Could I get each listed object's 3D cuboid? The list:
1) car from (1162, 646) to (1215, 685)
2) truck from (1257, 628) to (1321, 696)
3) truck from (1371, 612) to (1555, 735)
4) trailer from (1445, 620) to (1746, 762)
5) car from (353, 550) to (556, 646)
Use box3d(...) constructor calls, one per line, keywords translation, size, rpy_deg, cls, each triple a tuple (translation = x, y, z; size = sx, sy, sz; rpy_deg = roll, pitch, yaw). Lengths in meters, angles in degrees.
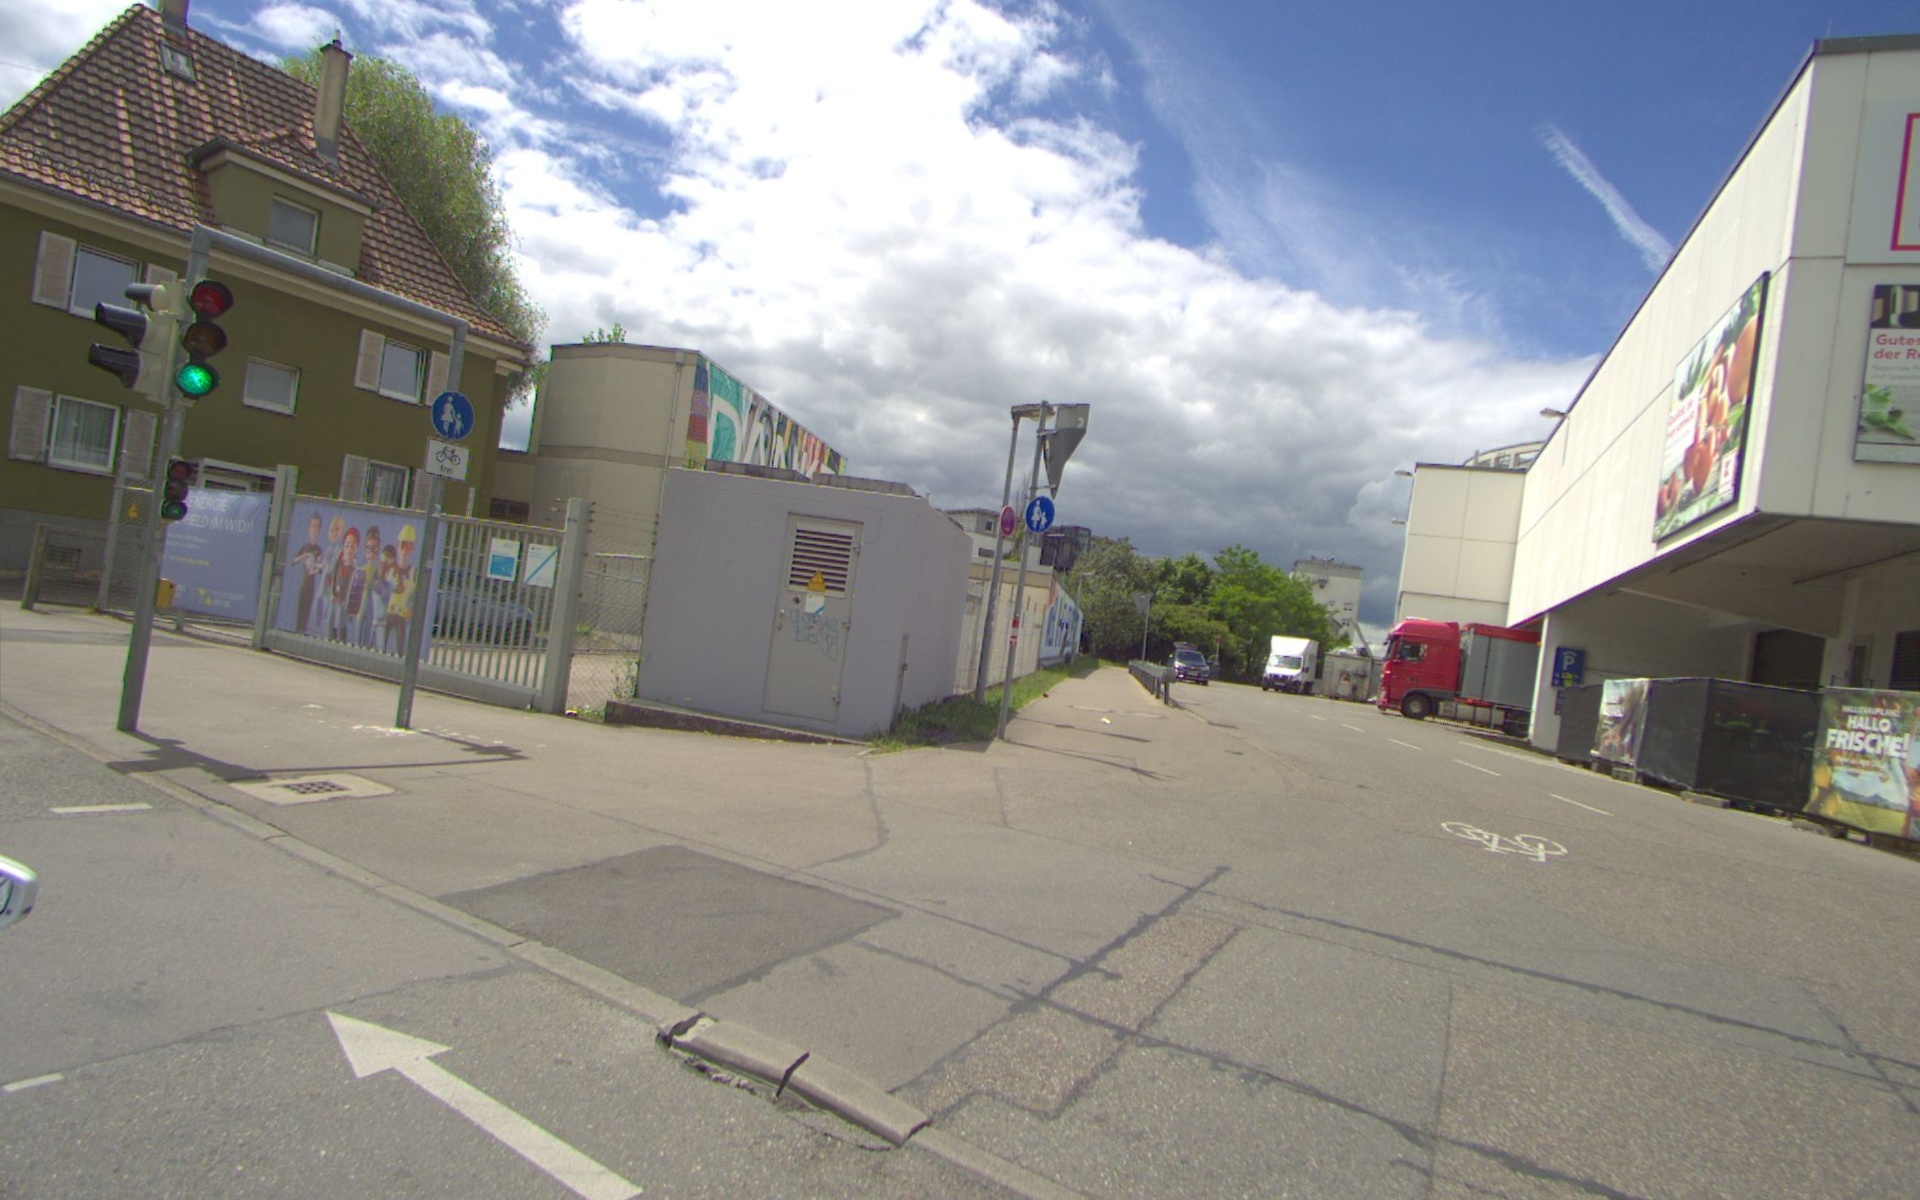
box3d(translation=(11.389, 3.282, 50.368), size=(1.838, 1.622, 3.979), rpy_deg=(8, -3, 4), cls="car")
box3d(translation=(19.015, 3.662, 57.820), size=(2.369, 3.263, 7.432), rpy_deg=(7, -3, 25), cls="truck")
box3d(translation=(19.512, 2.855, 39.435), size=(5.795, 3.905, 2.606), rpy_deg=(7, -2, 20), cls="truck")
box3d(translation=(23.546, 3.350, 37.911), size=(8.898, 3.905, 2.606), rpy_deg=(7, -2, 21), cls="trailer")
box3d(translation=(-10.958, 0.008, 22.049), size=(1.630, 1.511, 3.514), rpy_deg=(9, -2, 30), cls="car")
